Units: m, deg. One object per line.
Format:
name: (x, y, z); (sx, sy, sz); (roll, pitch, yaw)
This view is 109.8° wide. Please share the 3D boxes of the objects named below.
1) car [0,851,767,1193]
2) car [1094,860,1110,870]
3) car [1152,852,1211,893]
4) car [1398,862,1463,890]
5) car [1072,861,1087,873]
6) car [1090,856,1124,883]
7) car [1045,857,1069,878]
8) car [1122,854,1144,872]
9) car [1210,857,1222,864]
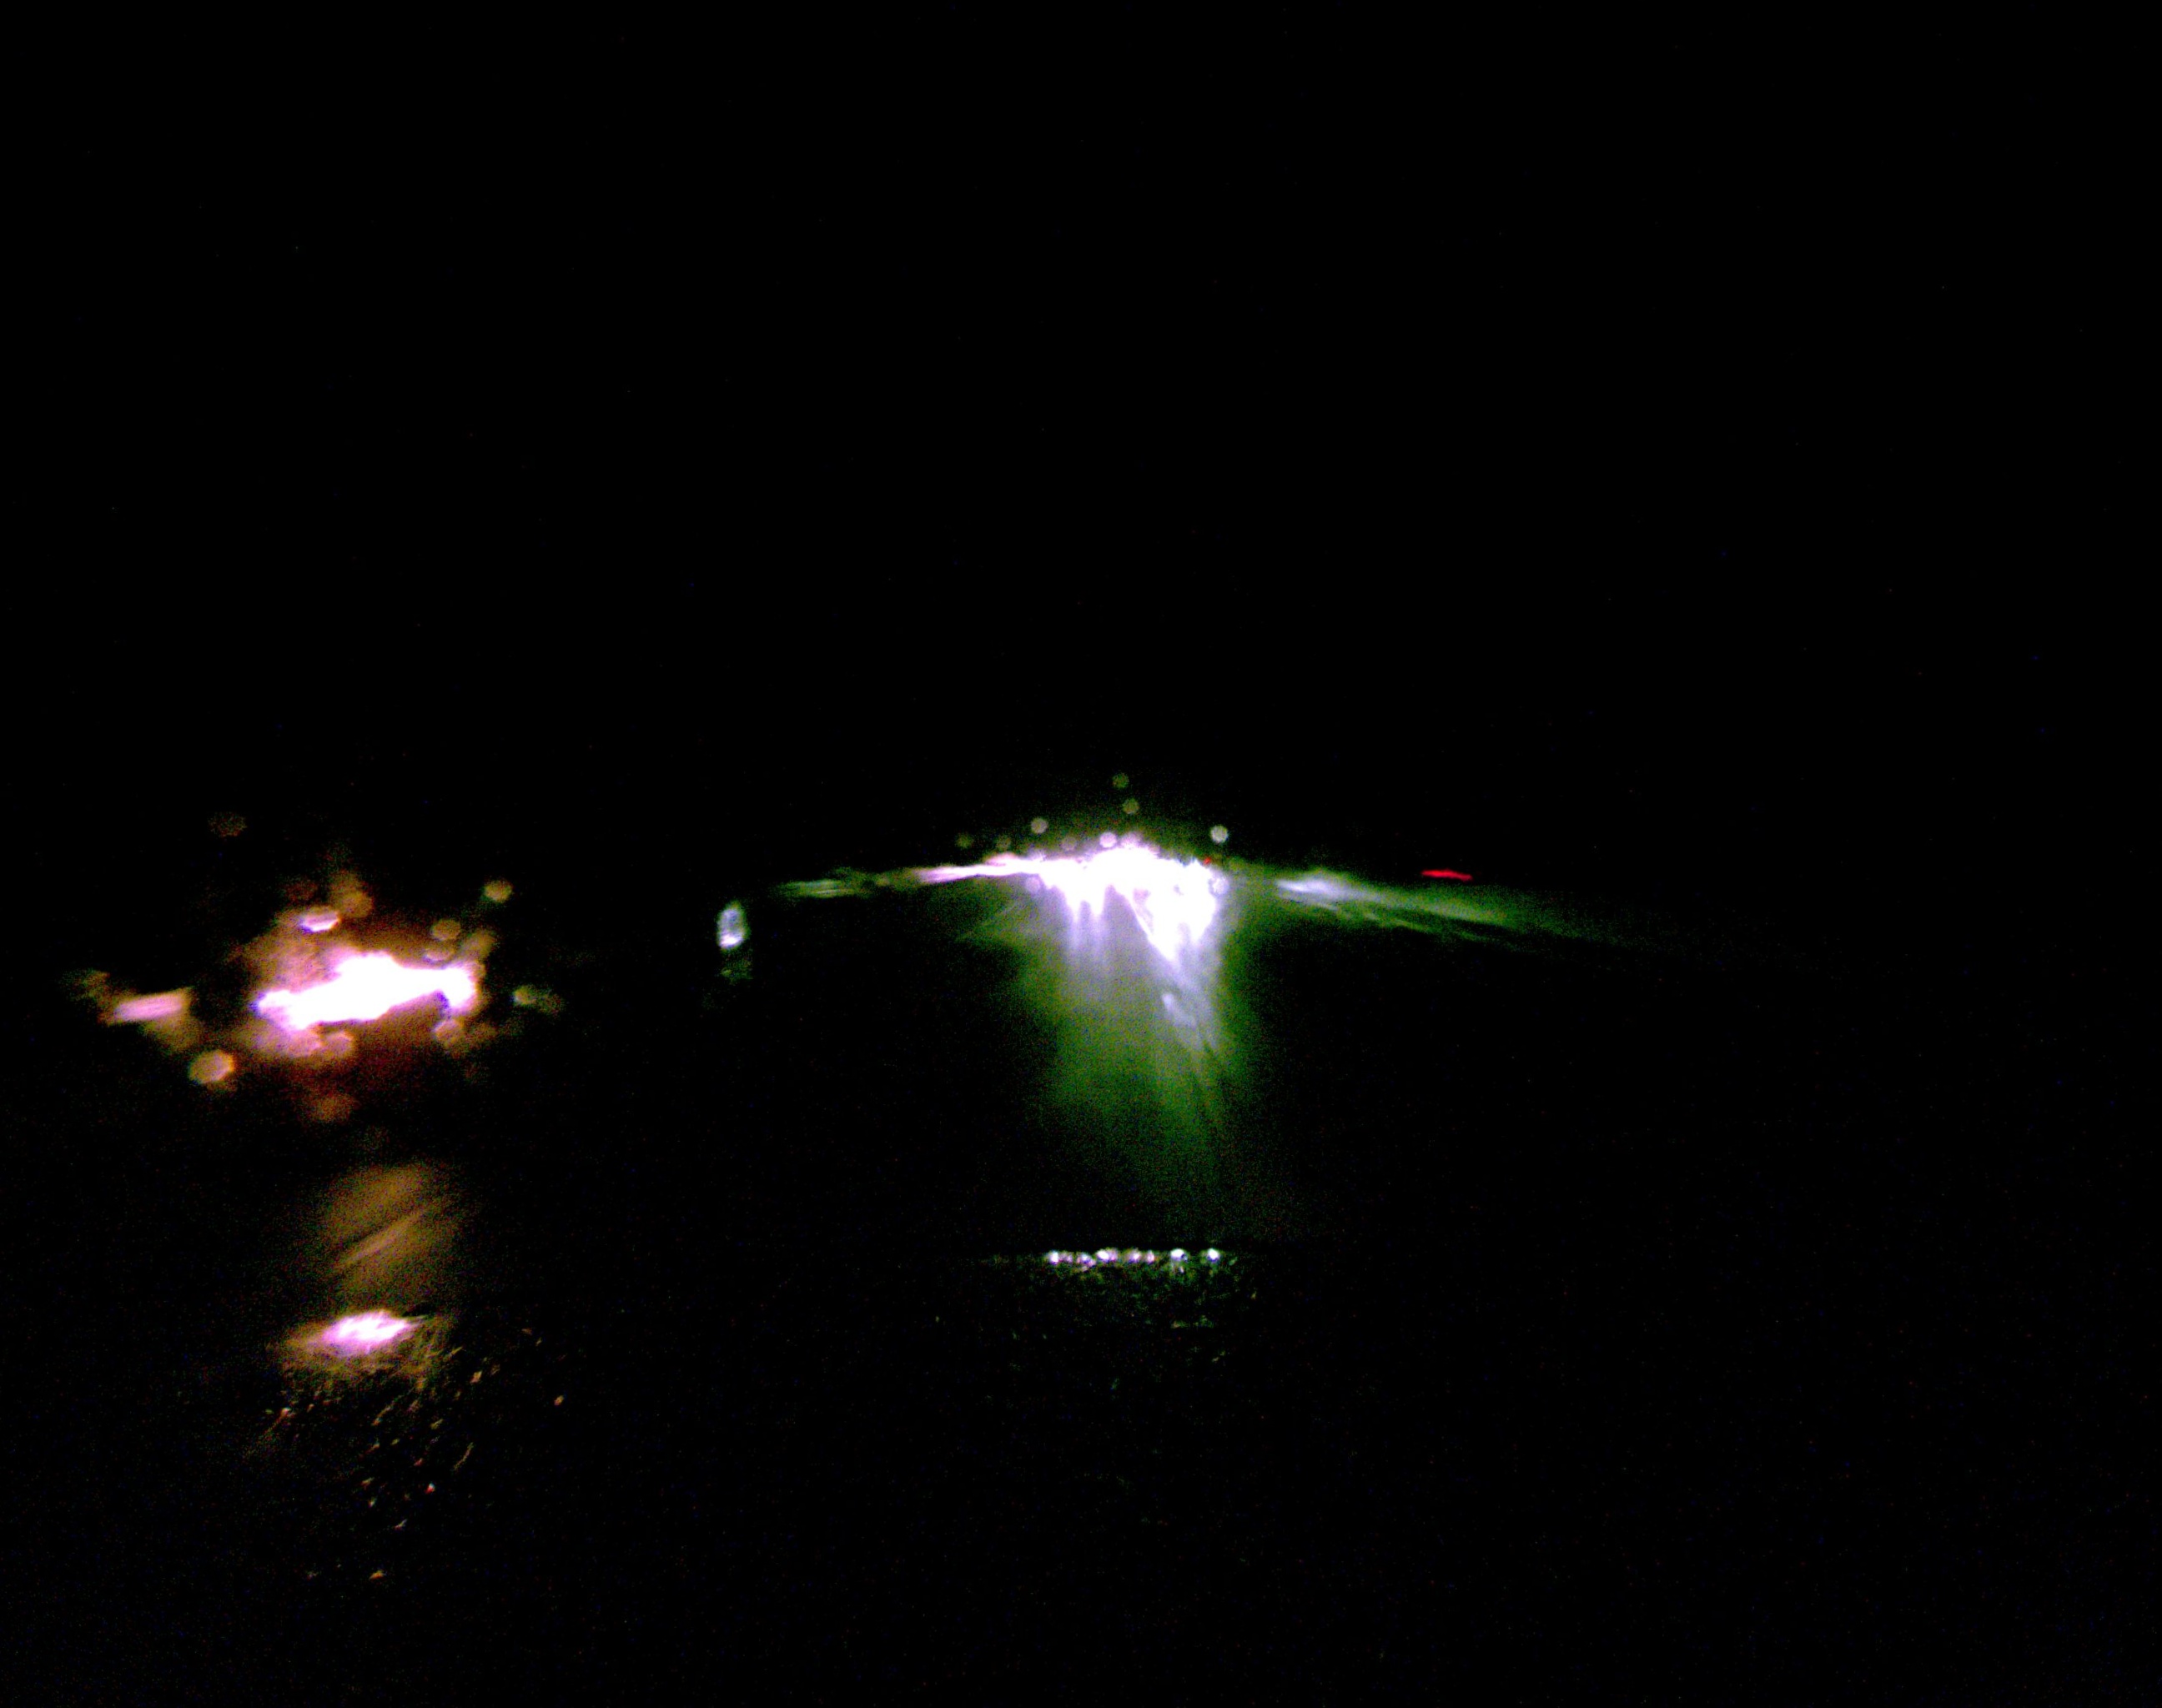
car: (-4.897, 0.900, 6.603); (1.957, 1.782, 5.124); (-1, 0, 3)
car: (2.526, 1.270, 90.409); (1.692, 1.149, 3.422); (1, 0, 5)
car: (4.200, 0.742, 32.255); (2.309, 1.600, 3.873); (1, 1, 6)
car: (20.380, 1.236, 44.526); (1.998, 1.477, 4.000); (-3, 0, 1)
car: (-0.213, 1.970, 116.072); (1.998, 1.745, 4.001); (-1, 0, 3)
car: (1.782, 0.988, 50.842); (1.997, 1.667, 4.002); (1, 1, 6)
car: (-2.381, 1.348, 76.443); (1.998, 2.002, 4.001); (1, 1, 4)
car: (5.038, 0.875, 73.845); (1.998, 1.667, 4.001); (1, 1, 3)
car: (30.092, 1.390, 169.161); (1.998, 1.477, 4.000); (-3, 0, 1)
